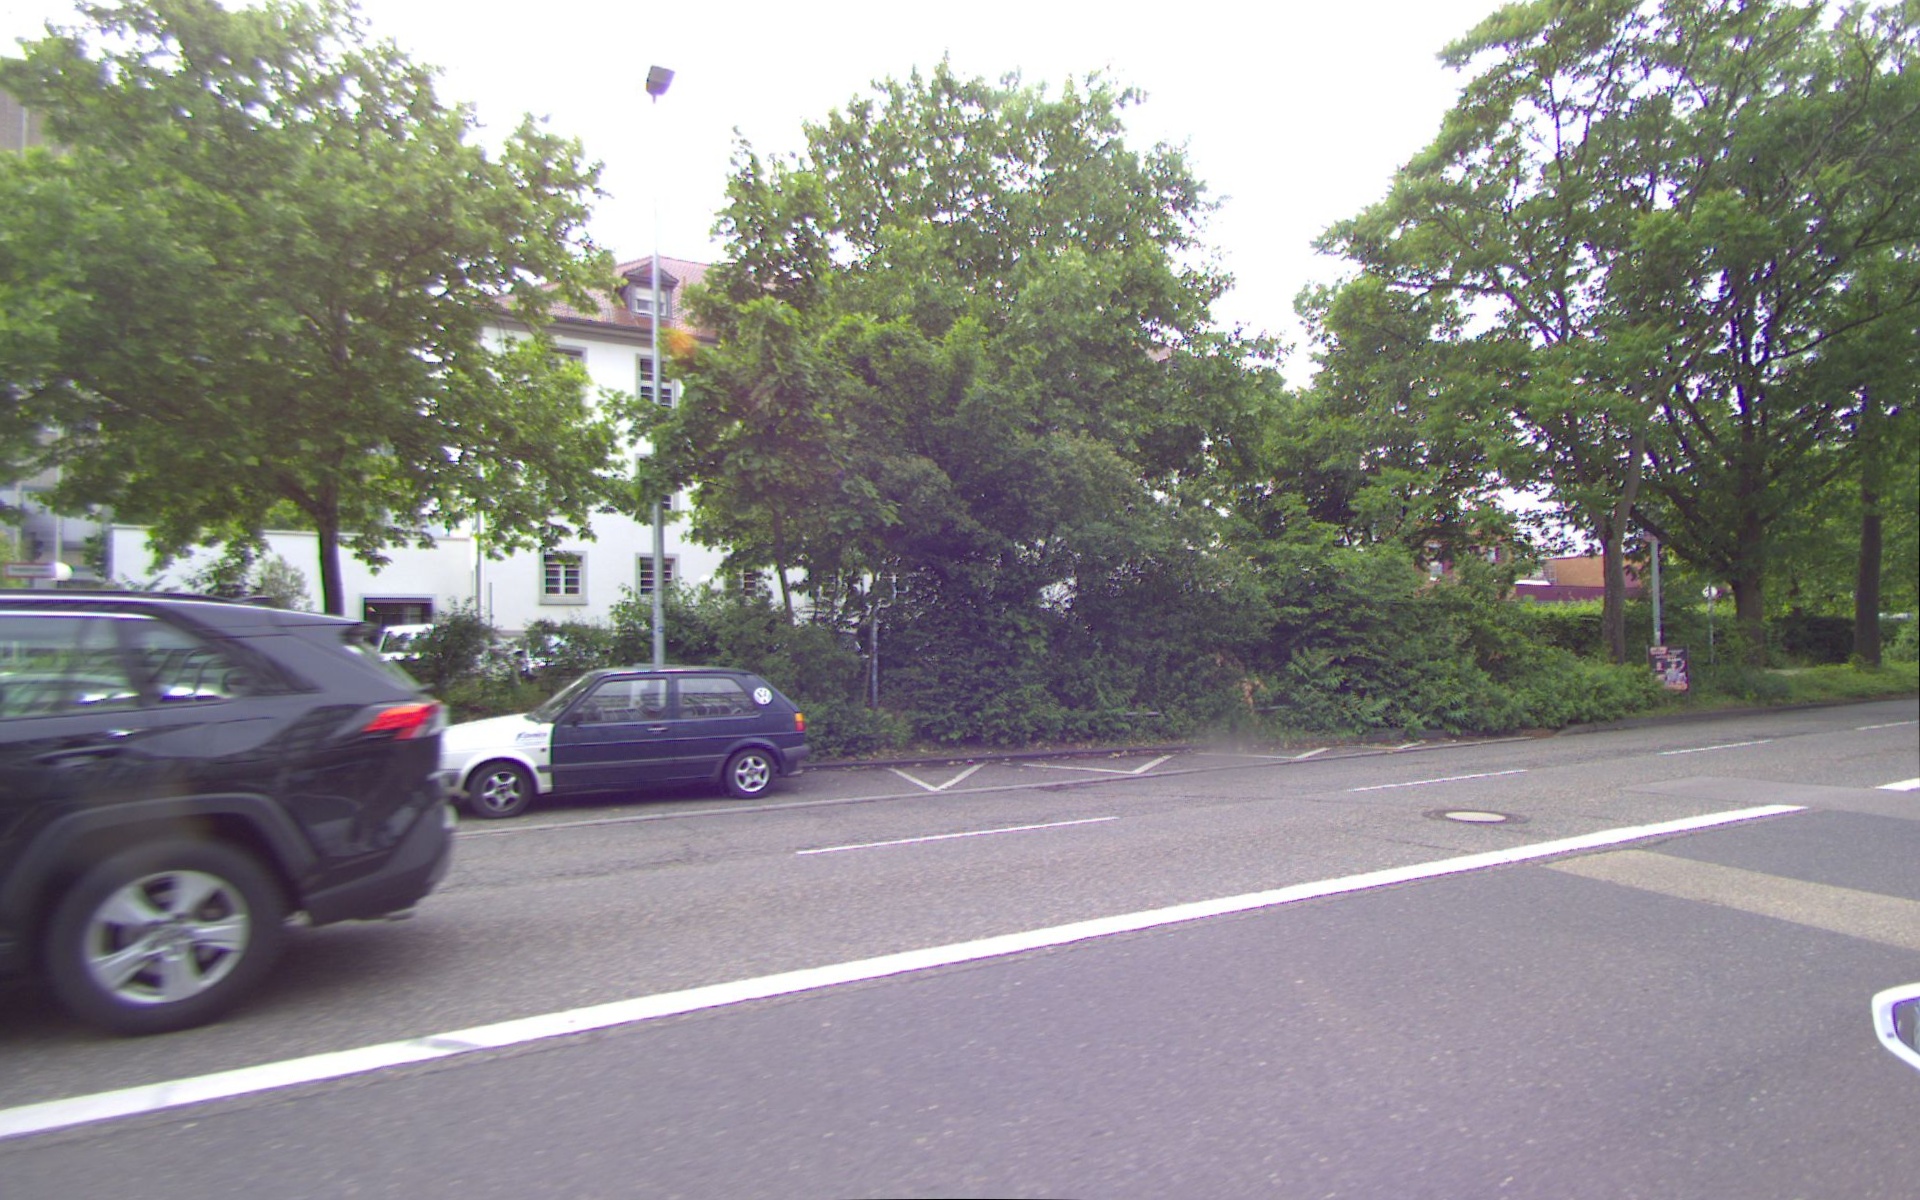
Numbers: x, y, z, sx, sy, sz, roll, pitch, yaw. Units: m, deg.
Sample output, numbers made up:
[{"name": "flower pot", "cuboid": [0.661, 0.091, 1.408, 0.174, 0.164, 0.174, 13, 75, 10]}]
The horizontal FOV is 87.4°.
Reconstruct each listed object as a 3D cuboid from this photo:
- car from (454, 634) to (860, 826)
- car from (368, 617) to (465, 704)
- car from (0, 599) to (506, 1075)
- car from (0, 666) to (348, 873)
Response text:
[{"name": "car", "cuboid": [-3.299, 1.244, 11.006, 3.951, 1.712, 1.985, 1, -1, -29]}, {"name": "car", "cuboid": [-11.338, 1.183, 20.884, 1.633, 1.623, 3.568, 1, -1, -30]}, {"name": "car", "cuboid": [-4.297, 0.848, 3.946, 4.461, 1.614, 1.895, 1, -4, -29]}, {"name": "car", "cuboid": [-8.001, 1.370, 8.439, 4.664, 1.443, 1.868, 1, 0, -25]}]
